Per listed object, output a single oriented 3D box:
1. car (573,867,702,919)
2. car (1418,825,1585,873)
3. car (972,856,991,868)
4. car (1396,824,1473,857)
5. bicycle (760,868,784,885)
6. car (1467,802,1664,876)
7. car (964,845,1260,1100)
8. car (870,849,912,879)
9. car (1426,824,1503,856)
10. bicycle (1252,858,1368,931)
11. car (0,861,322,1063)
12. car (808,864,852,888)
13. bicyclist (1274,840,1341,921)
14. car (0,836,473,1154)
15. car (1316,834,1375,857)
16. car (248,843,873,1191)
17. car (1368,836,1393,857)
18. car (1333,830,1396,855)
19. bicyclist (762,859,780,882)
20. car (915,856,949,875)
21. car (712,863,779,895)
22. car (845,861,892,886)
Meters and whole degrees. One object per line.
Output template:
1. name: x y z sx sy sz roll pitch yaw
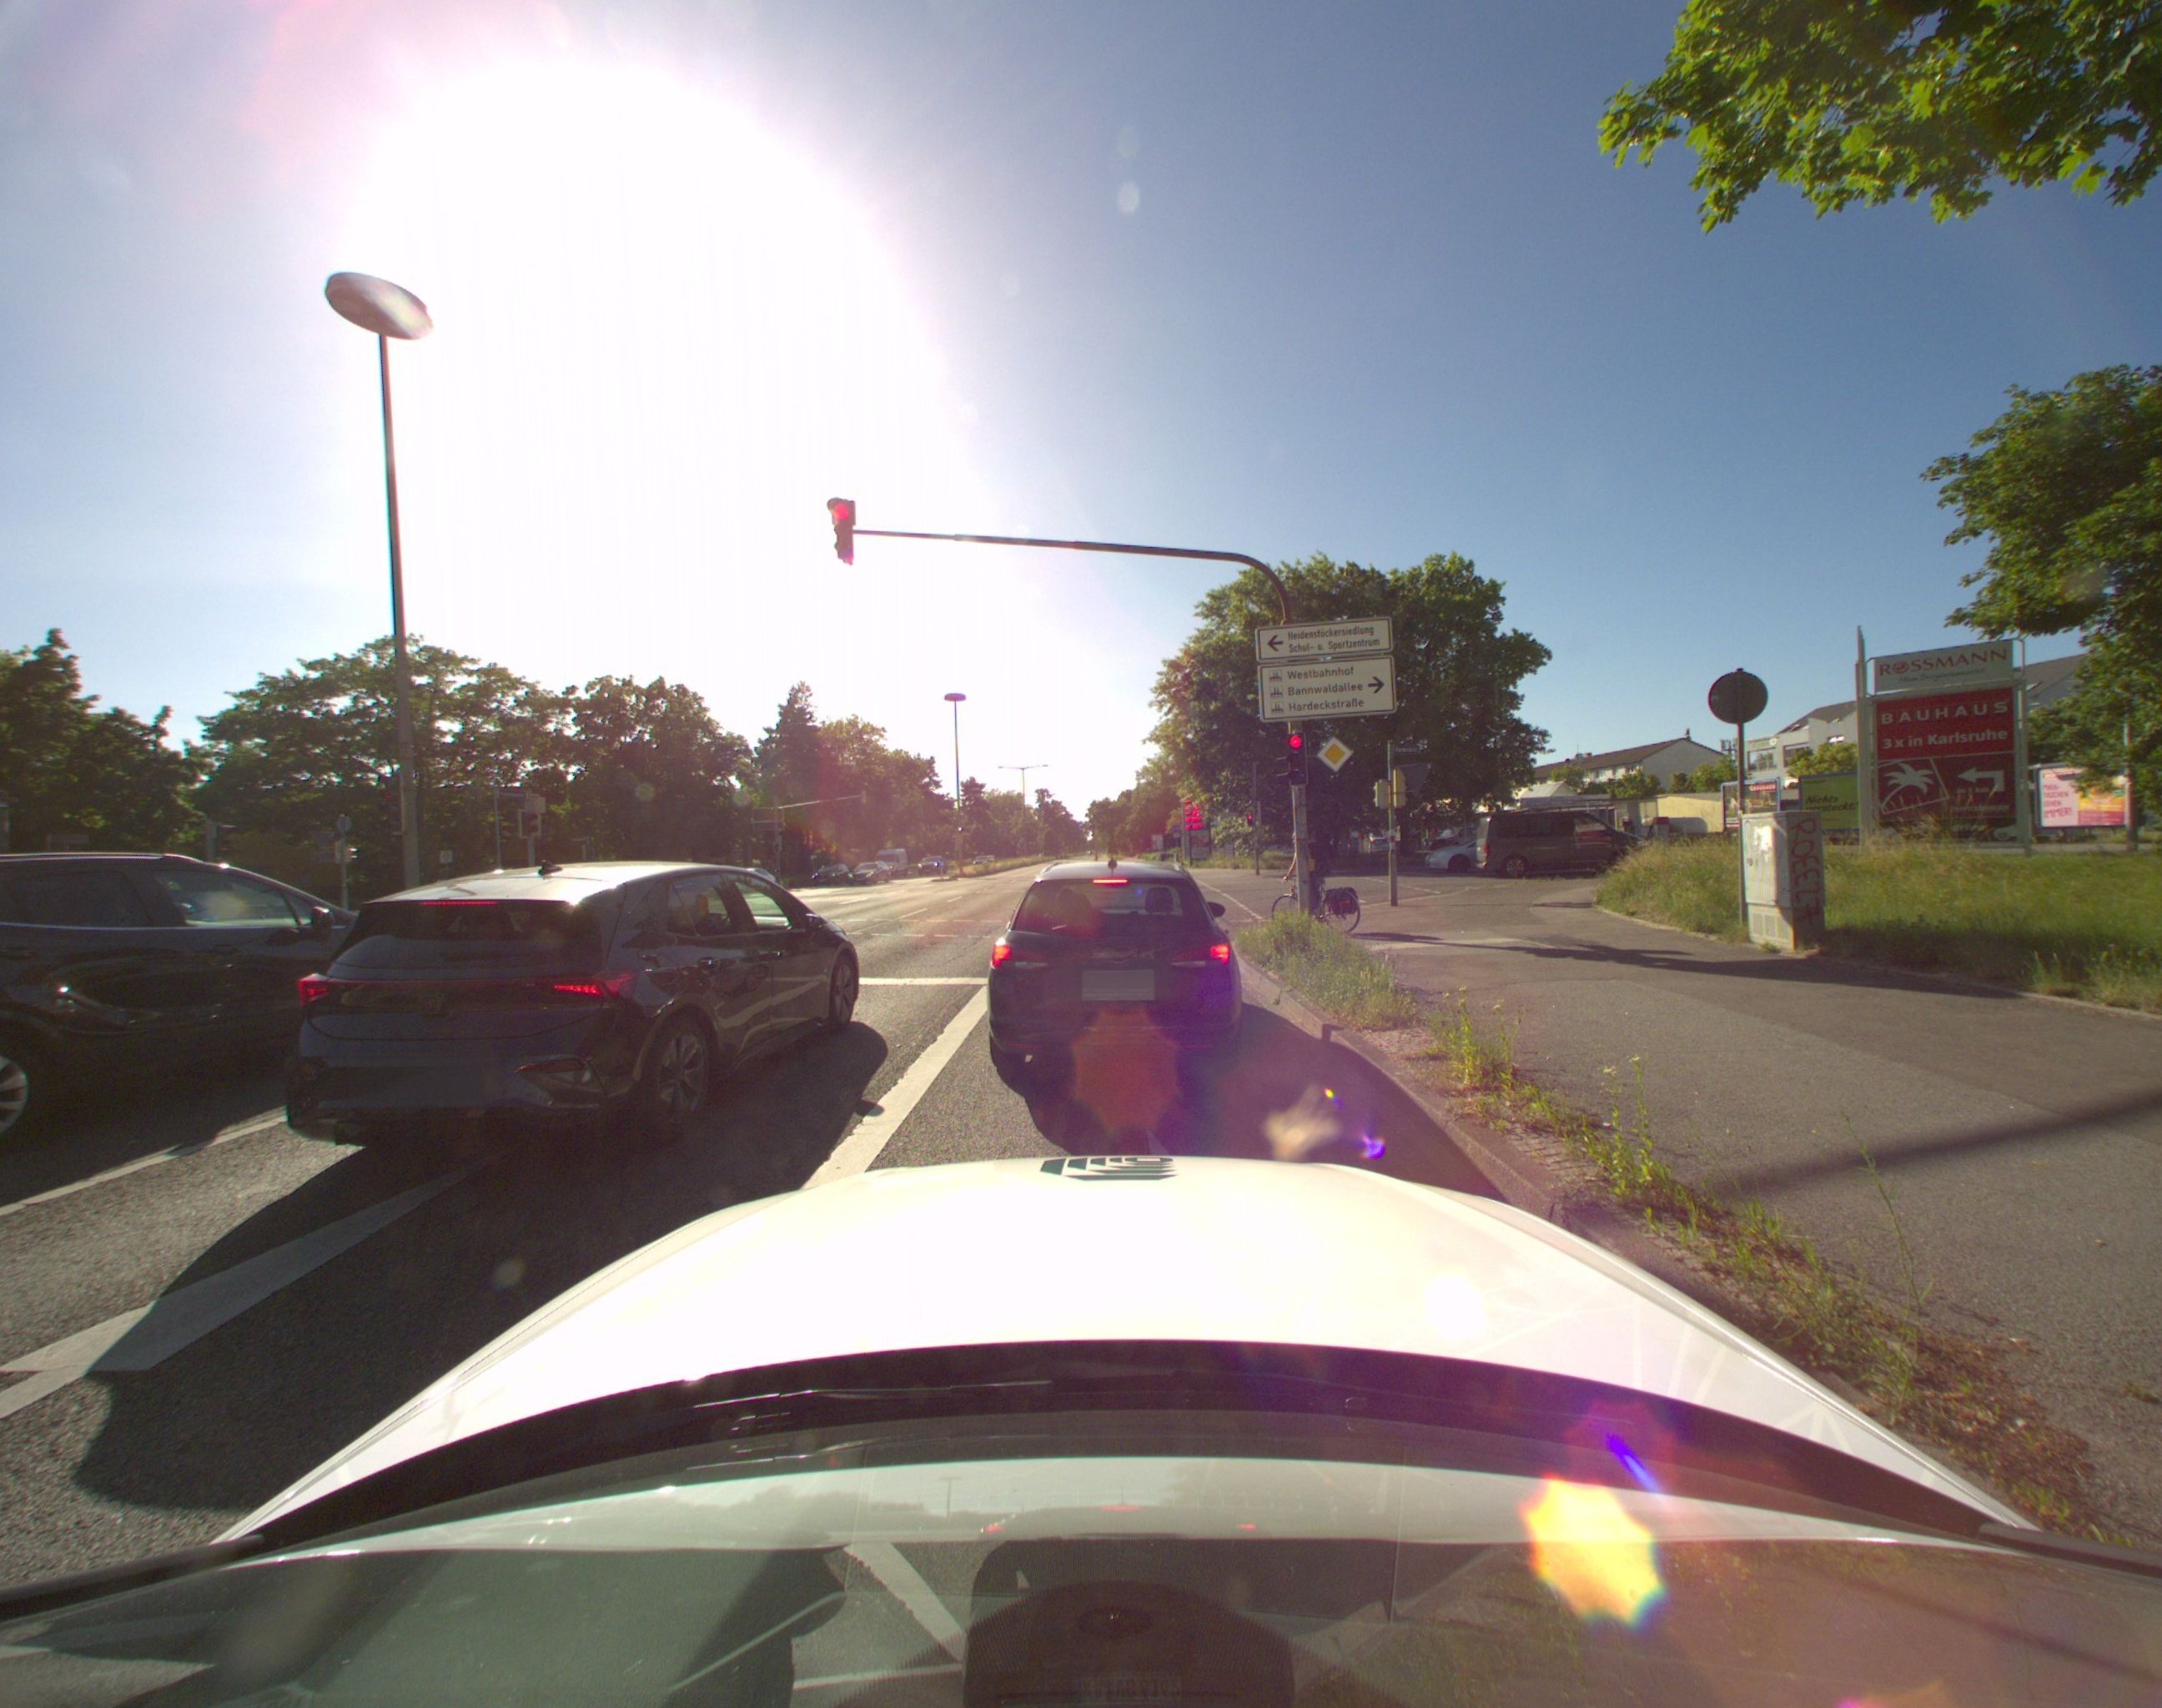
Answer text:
1. car: -15.407 1.291 28.630 1.881 1.524 4.506 -3 0 2
2. car: 14.965 -0.169 29.312 4.969 1.486 2.007 -2 0 13
3. car: -12.901 1.021 105.685 1.769 1.463 4.166 -3 0 2
4. car: 21.456 -0.840 49.415 4.003 1.749 1.985 -3 0 -22
5. bicycle: -23.643 1.727 62.291 0.873 1.212 2.534 -3 0 -2
6. car: 15.111 -0.444 25.731 4.960 1.992 1.926 -3 0 16
7. car: 0.250 0.722 6.984 1.750 1.495 4.208 -1 0 2
8. car: -16.905 0.829 72.725 2.092 2.492 6.006 -3 0 2
9. car: 22.379 -0.816 47.544 4.002 1.680 1.733 -3 0 -21
10. bicycle: 3.732 0.684 13.391 0.541 1.097 1.755 -3 -2 -42
11. car: -10.222 0.984 7.940 1.824 1.702 3.999 -3 0 0
12. car: -17.779 1.516 57.924 1.680 1.509 4.005 -3 0 2
13. bicyclist: 3.721 0.442 13.396 0.541 1.277 0.819 -3 -2 -42
14. car: -6.619 0.784 5.538 1.798 1.689 4.002 -3 0 2
15. car: 19.330 -0.617 59.544 3.903 1.517 1.733 -3 0 -21
16. car: -2.959 0.768 5.875 1.678 1.580 4.208 -1 0 2
17. car: 25.612 -0.658 69.658 1.726 1.680 4.018 -3 0 17
18. car: 19.664 -0.824 56.452 3.903 1.517 1.733 -3 0 -21
19. bicyclist: -23.658 1.238 62.212 0.873 1.648 1.198 -3 0 -3
20. car: -13.602 1.051 74.616 1.986 1.601 4.617 -3 0 2
21. car: -17.726 1.288 43.220 1.635 1.456 4.223 -3 0 2
22. car: -14.097 1.285 54.297 1.680 1.433 4.617 -3 0 2
